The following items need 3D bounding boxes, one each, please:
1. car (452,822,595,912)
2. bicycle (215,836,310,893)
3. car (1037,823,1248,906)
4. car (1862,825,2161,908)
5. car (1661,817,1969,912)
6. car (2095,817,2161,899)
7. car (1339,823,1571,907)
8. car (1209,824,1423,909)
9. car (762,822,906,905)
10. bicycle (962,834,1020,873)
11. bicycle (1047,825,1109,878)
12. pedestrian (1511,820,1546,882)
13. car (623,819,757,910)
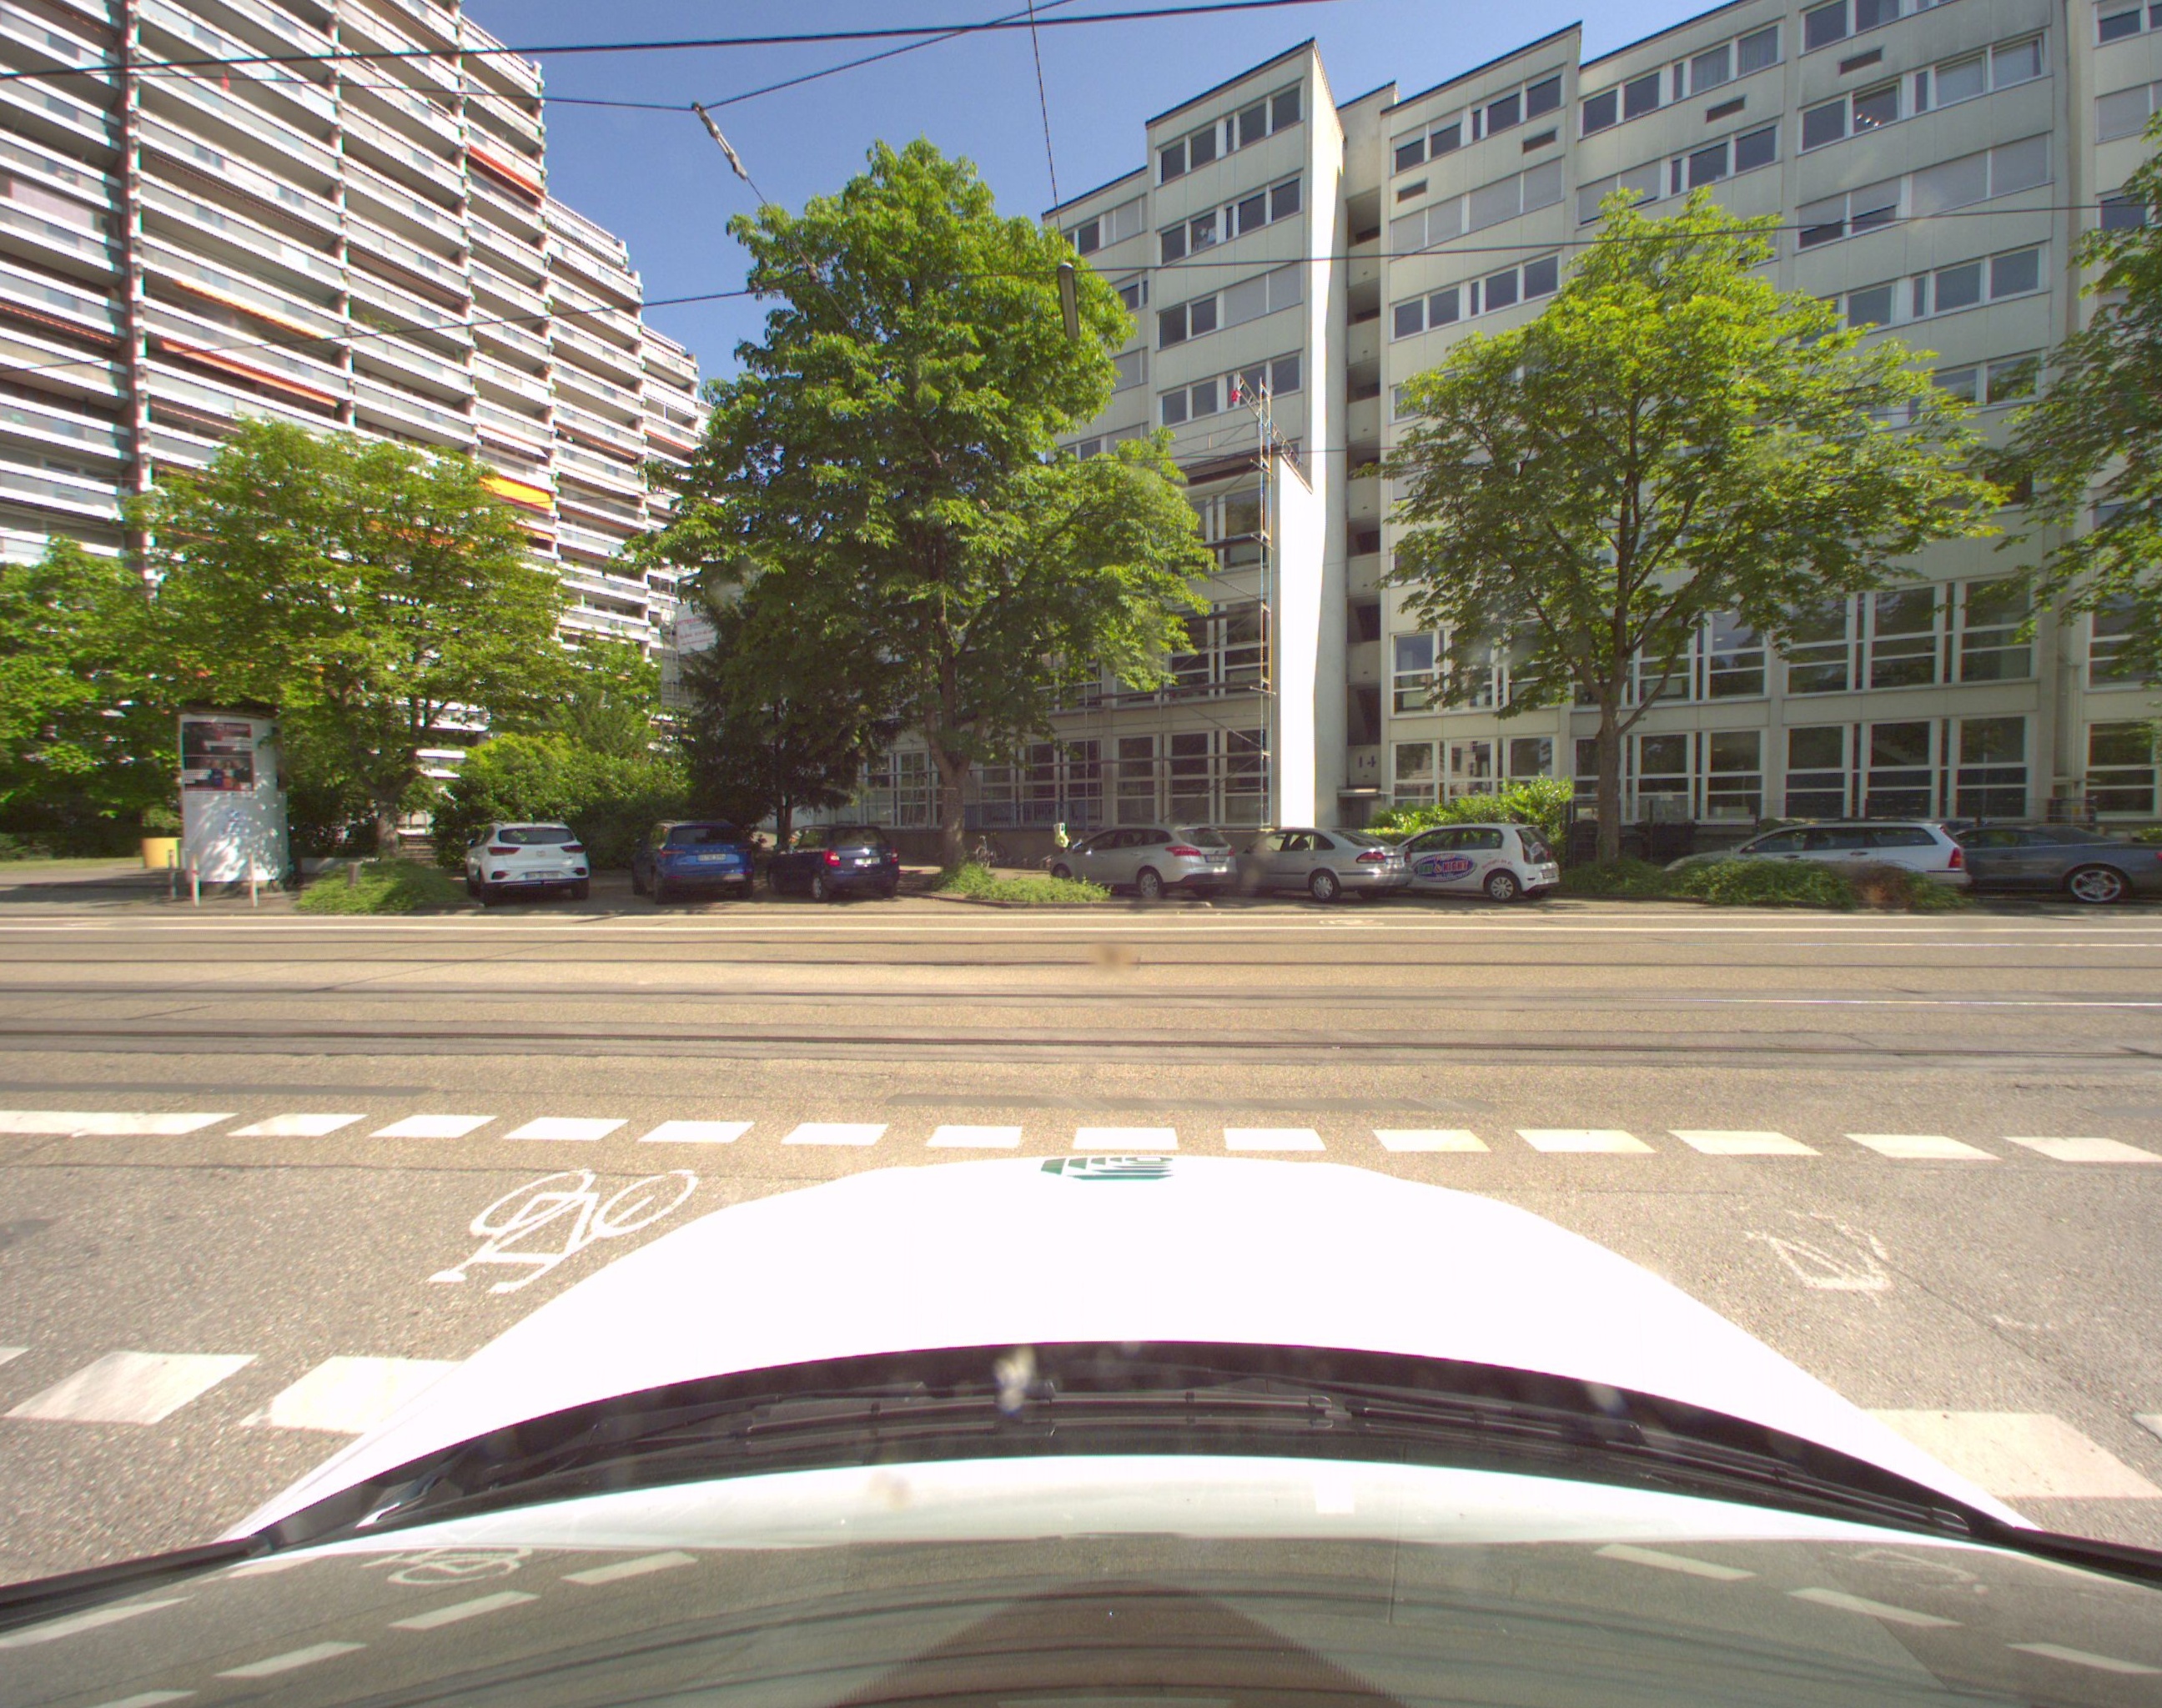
[{"bbox_3d":[-11.692,0.180,16.983,1.830,1.606,3.898,-5,4,-43],"label":"car"},{"bbox_3d":[-19.159,0.232,19.074,1.611,1.308,0.547,0,1,-1],"label":"bicycle"},{"bbox_3d":[1.132,0.123,16.830,1.794,1.486,4.383,-2,2,-41],"label":"car"},{"bbox_3d":[17.376,0.159,15.196,1.567,1.357,3.899,-2,2,-41],"label":"car"},{"bbox_3d":[14.017,0.139,15.795,1.567,1.604,4.292,-1,1,-43],"label":"car"},{"bbox_3d":[21.035,0.073,14.338,1.567,1.486,3.899,-2,2,-41],"label":"car"},{"bbox_3d":[7.338,0.172,16.291,1.621,1.486,3.899,-2,1,-39],"label":"car"},{"bbox_3d":[4.551,0.167,16.238,1.621,1.486,3.900,-2,2,-39],"label":"car"},{"bbox_3d":[-5.160,0.121,16.797,1.585,1.531,3.418,-2,2,-41],"label":"car"},{"bbox_3d":[-2.692,-0.040,24.557,0.734,1.085,2.215,0,2,23],"label":"bicycle"},{"bbox_3d":[-0.062,-0.097,23.437,0.655,1.453,2.104,1,2,35],"label":"bicycle"},{"bbox_3d":[10.632,-0.079,19.368,0.617,1.460,0.425,0,1,5],"label":"pedestrian"},{"bbox_3d":[-8.238,0.105,16.988,1.789,1.622,3.903,-3,4,-36],"label":"car"}]
